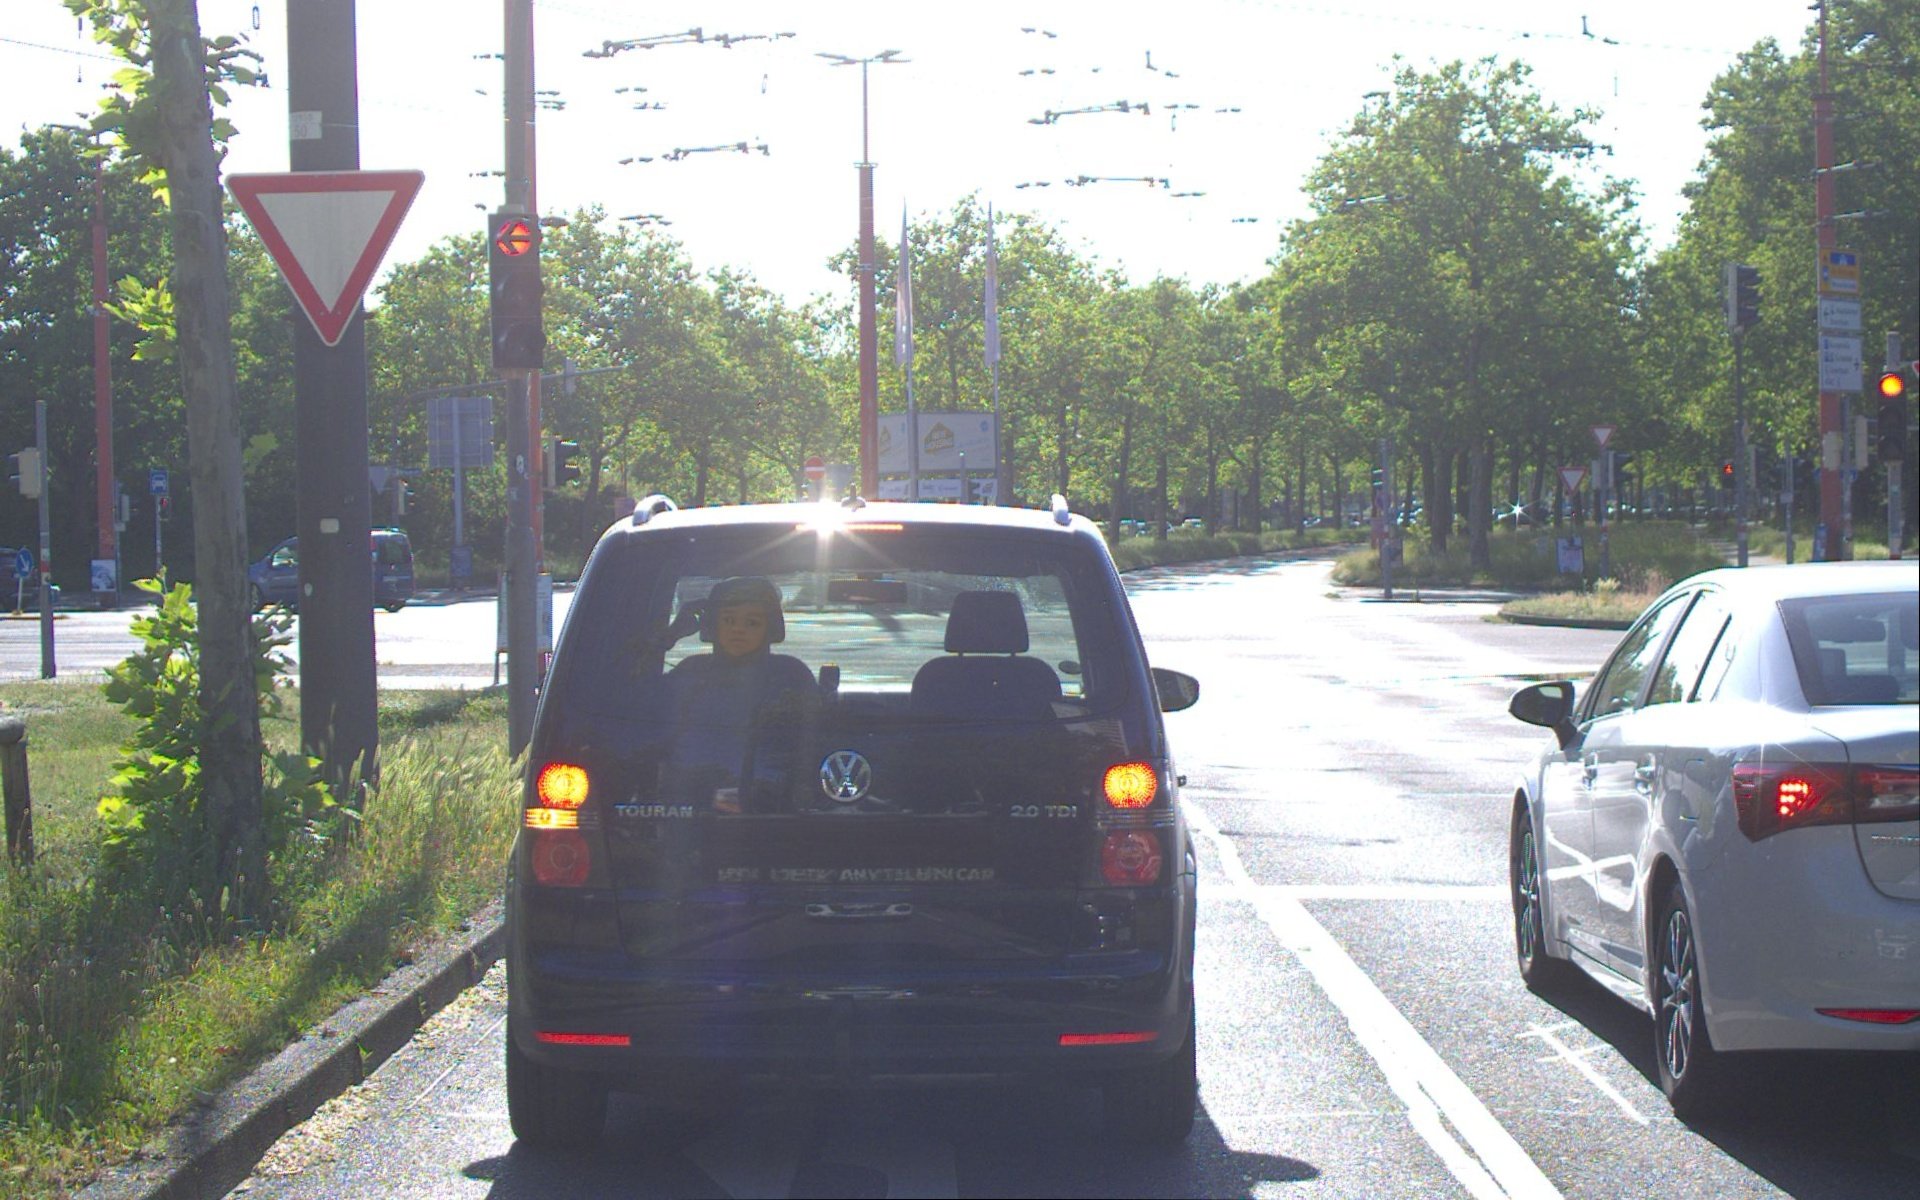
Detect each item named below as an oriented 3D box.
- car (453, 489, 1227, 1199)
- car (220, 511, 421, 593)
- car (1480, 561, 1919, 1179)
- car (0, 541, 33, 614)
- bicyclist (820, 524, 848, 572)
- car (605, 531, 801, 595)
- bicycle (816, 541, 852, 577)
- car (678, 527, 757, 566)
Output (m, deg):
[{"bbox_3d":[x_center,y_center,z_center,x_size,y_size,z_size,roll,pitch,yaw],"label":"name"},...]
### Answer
[{"bbox_3d":[-0.255,0.537,9.982,1.738,1.597,4.326,1,1,1],"label":"car"},{"bbox_3d":[-14.230,-1.082,76.489,4.124,1.784,1.796,1,1,24],"label":"car"},{"bbox_3d":[2.756,0.618,10.160,1.799,1.435,4.326,1,1,1],"label":"car"},{"bbox_3d":[-25.494,-0.582,86.330,4.124,1.784,1.796,1,1,26],"label":"car"},{"bbox_3d":[-4.993,-2.060,136.329,0.976,1.897,1.050,0,1,7],"label":"bicyclist"},{"bbox_3d":[-5.777,-0.850,77.264,4.124,1.398,1.654,1,1,25],"label":"car"},{"bbox_3d":[-5.000,-1.637,136.295,0.976,1.384,2.979,0,1,7],"label":"bicycle"},{"bbox_3d":[-8.849,-1.961,125.761,1.652,1.398,4.130,0,1,14],"label":"car"}]
